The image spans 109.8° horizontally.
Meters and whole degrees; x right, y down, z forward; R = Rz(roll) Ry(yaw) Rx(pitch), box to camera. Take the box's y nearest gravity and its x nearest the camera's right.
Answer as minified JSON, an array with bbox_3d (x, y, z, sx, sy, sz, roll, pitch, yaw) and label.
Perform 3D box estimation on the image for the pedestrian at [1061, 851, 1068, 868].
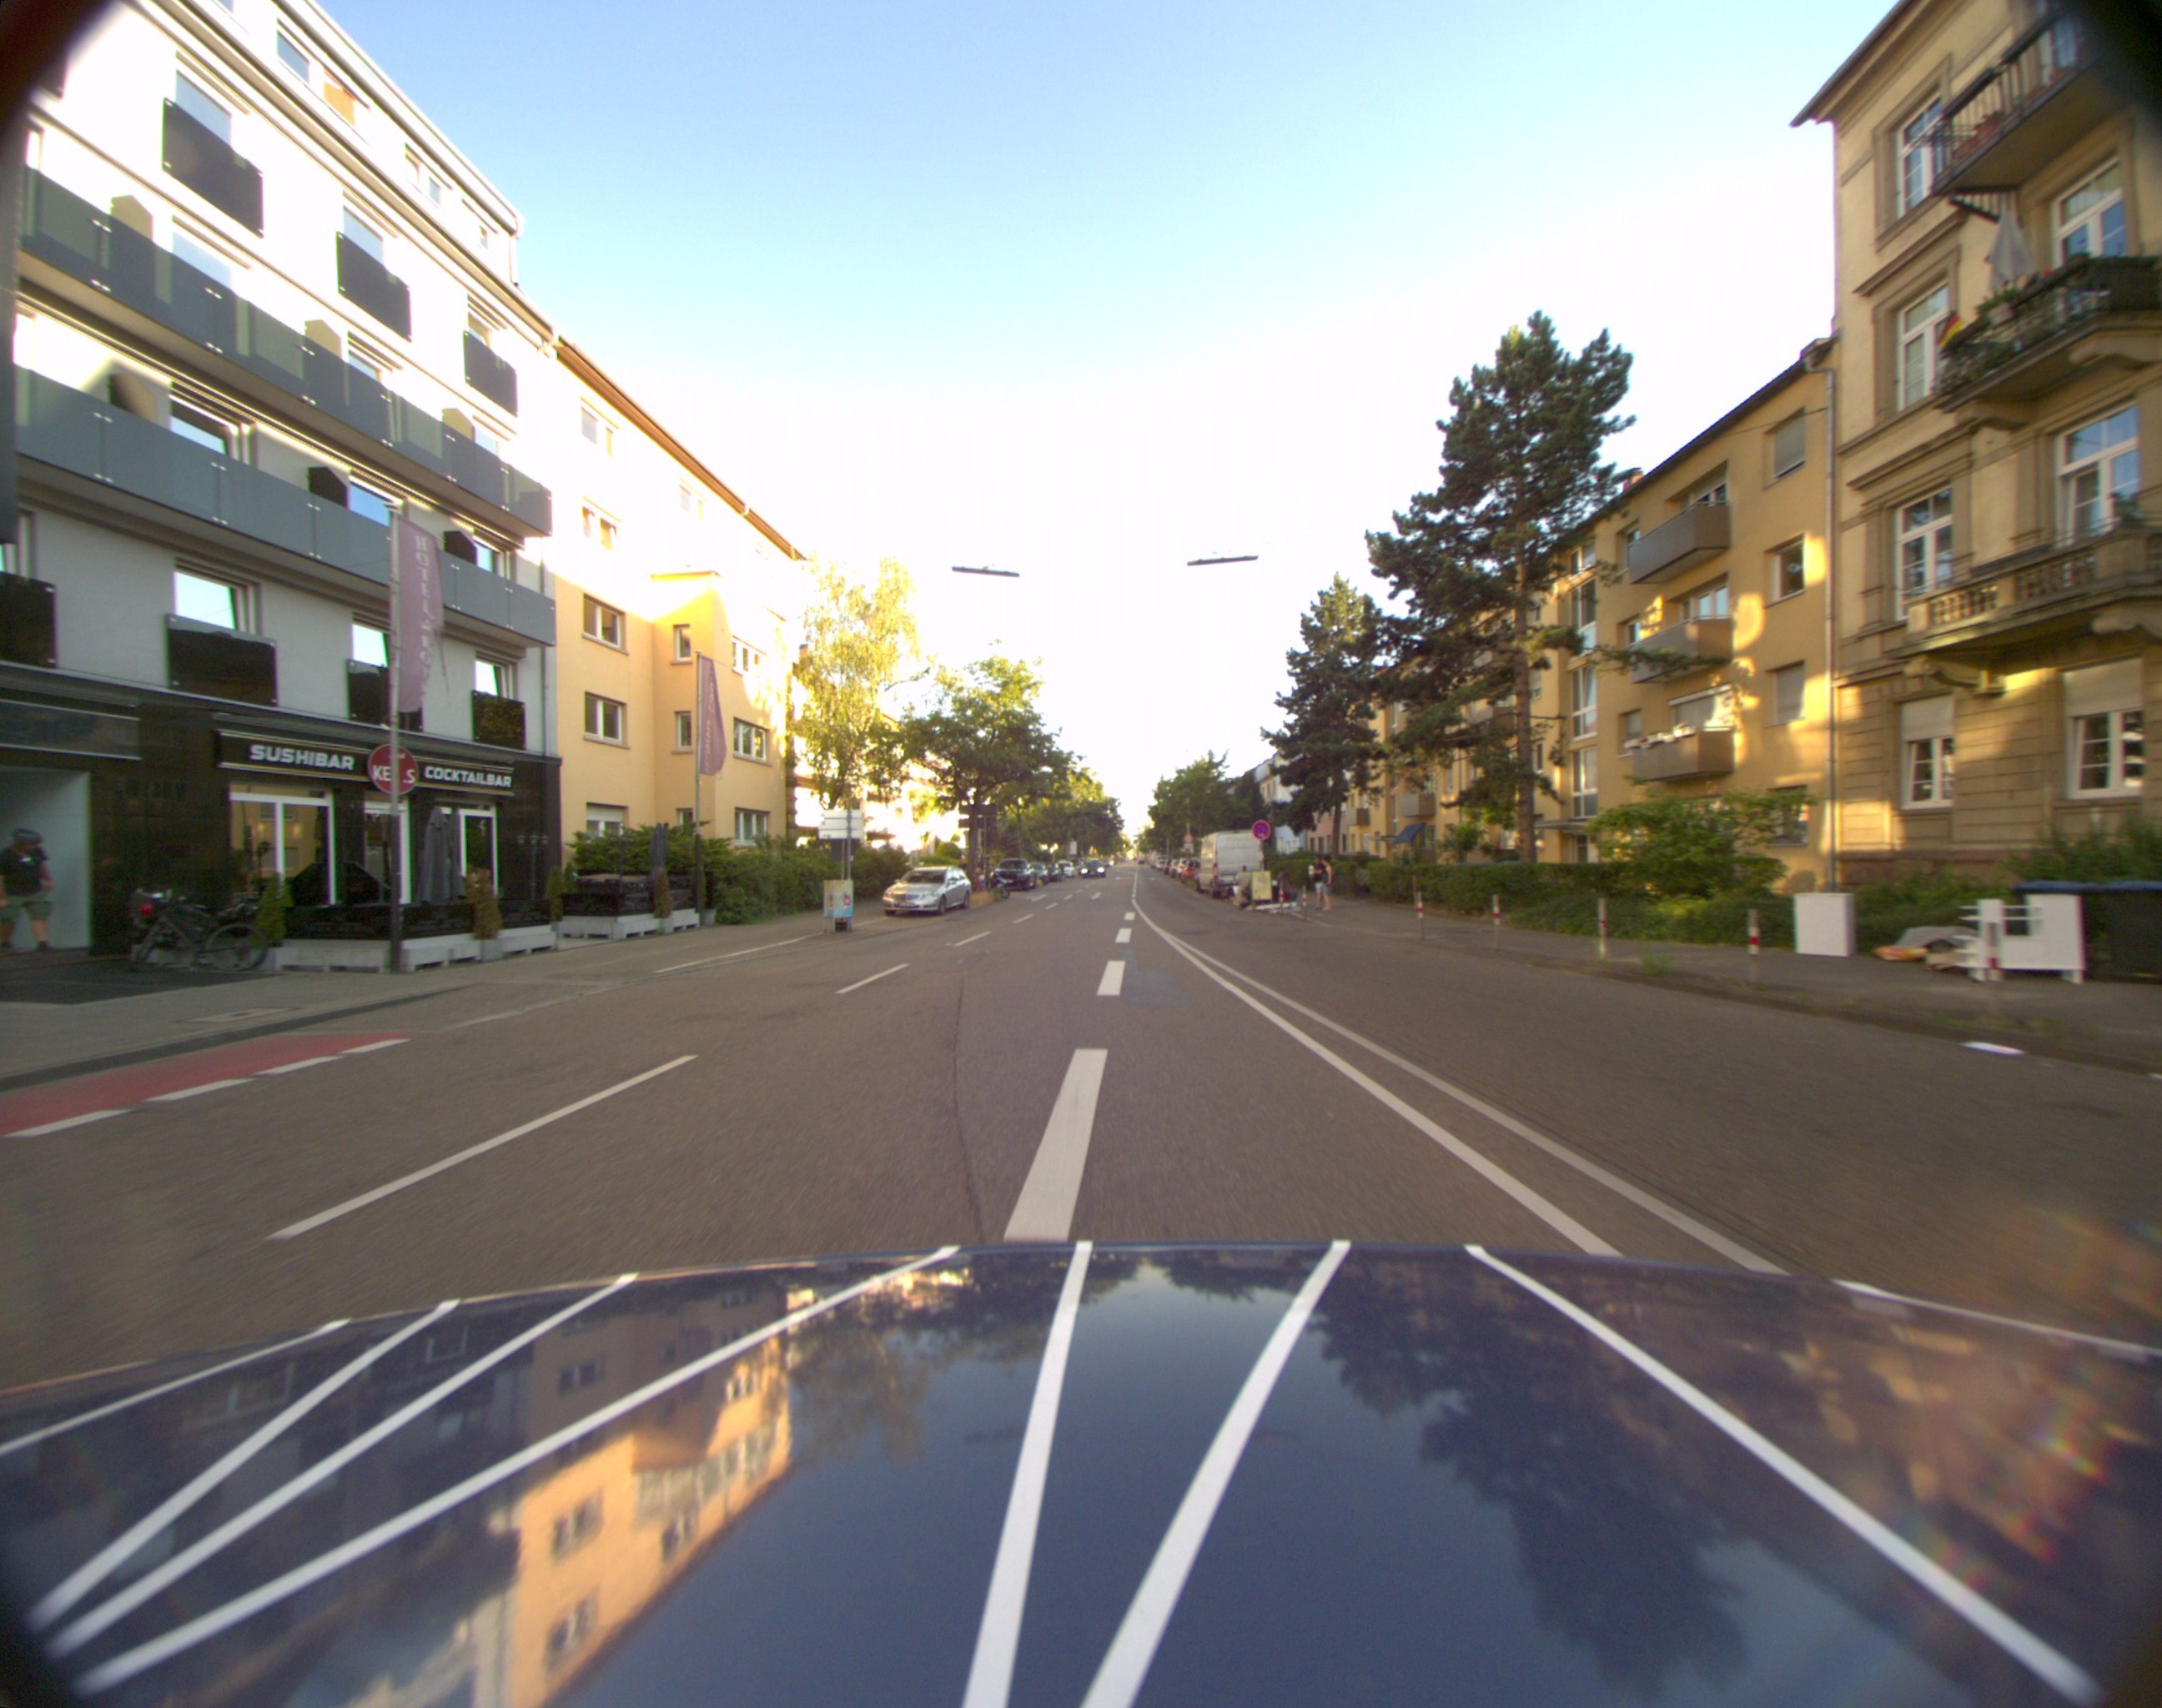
[{"bbox_3d":[-1.832,0.635,85.037,0.669,1.773,0.764,-4,2,4],"label":"pedestrian"}]

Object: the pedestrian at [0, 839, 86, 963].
[{"bbox_3d":[-14.375,0.624,10.349,0.708,1.633,0.693,-1,0,4],"label":"pedestrian"}]

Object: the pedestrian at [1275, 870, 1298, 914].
[{"bbox_3d":[6.517,1.196,24.090,0.560,1.369,0.480,-2,0,-1],"label":"pedestrian"}]

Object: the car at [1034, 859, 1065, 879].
[{"bbox_3d":[-2.331,1.091,56.872,1.774,1.440,4.486,0,0,4],"label":"car"}]

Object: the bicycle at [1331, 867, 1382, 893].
[{"bbox_3d":[11.009,1.049,30.417,1.789,0.976,0.590,-2,0,5],"label":"bicycle"}]

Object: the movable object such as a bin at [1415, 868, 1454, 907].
[{"bbox_3d":[10.093,0.961,21.719,0.813,1.044,0.582,-4,0,3],"label":"movable object such as a bin"}]

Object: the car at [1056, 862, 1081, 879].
[{"bbox_3d":[-1.047,1.469,66.992,1.765,1.394,4.335,0,0,4],"label":"car"}]

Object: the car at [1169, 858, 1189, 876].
[{"bbox_3d":[9.056,1.189,70.405,1.594,1.483,3.642,-2,0,4],"label":"car"}]

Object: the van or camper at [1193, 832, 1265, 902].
[{"bbox_3d":[6.301,0.527,33.081,2.040,2.648,6.016,-3,0,2],"label":"van or camper"}]

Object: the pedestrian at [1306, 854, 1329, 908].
[{"bbox_3d":[7.366,0.826,23.672,0.481,1.642,0.725,-1,0,-2],"label":"pedestrian"}]

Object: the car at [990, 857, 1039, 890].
[{"bbox_3d":[-3.517,1.027,41.132,1.952,1.645,4.797,-1,0,3],"label":"car"}]

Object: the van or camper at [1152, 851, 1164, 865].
[{"bbox_3d":[14.324,0.823,141.658,1.917,2.528,5.336,-1,0,4],"label":"van or camper"}]

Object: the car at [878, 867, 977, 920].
[{"bbox_3d":[-4.972,1.241,25.317,1.859,1.503,4.837,1,0,6],"label":"car"}]

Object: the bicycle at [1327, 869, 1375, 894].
[{"bbox_3d":[11.066,1.122,31.168,1.762,0.976,0.590,-2,0,5],"label":"bicycle"}]

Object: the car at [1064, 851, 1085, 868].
[{"bbox_3d":[-0.621,0.539,77.984,1.921,1.672,4.708,1,0,3],"label":"car"}]

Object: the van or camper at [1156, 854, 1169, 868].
[{"bbox_3d":[12.757,1.069,119.097,1.808,2.002,4.866,-1,0,3],"label":"van or camper"}]

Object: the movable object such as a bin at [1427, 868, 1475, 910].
[{"bbox_3d":[9.922,0.939,20.398,0.869,1.044,0.769,-4,0,3],"label":"movable object such as a bin"}]

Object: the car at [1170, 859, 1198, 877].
[{"bbox_3d":[8.512,1.141,63.155,1.998,1.439,4.459,-1,0,4],"label":"car"}]

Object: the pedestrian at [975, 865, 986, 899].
[{"bbox_3d":[-4.296,1.173,32.517,0.439,1.421,0.704,-1,0,-7],"label":"pedestrian"}]

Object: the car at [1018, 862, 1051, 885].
[{"bbox_3d":[-3.003,1.251,50.097,1.720,1.463,4.432,0,0,2],"label":"car"}]

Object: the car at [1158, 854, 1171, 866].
[{"bbox_3d":[11.380,0.822,103.841,1.683,1.434,3.883,-2,-1,6],"label":"car"}]

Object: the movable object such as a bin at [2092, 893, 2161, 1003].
[{"bbox_3d":[11.231,0.971,7.973,0.642,1.062,0.626,-3,1,-26],"label":"movable object such as a bin"}]

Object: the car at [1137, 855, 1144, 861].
[{"bbox_3d":[15.637,0.999,201.172,1.698,1.570,3.832,-2,0,3],"label":"car"}]

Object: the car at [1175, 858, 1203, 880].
[{"bbox_3d":[8.219,1.105,58.166,1.780,1.579,4.187,-2,0,4],"label":"car"}]

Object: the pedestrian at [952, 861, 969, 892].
[{"bbox_3d":[-6.481,1.207,40.869,0.748,1.606,0.580,-1,0,2],"label":"pedestrian"}]

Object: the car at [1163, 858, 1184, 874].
[{"bbox_3d":[9.168,1.191,75.548,1.841,1.508,4.317,-2,0,5],"label":"car"}]

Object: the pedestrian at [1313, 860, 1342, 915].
[{"bbox_3d":[7.434,1.002,22.934,0.606,1.642,0.697,-1,0,-2],"label":"pedestrian"}]

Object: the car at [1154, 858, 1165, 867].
[{"bbox_3d":[13.138,1.390,127.804,1.808,1.489,3.958,-1,0,6],"label":"car"}]

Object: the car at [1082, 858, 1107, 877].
[{"bbox_3d":[1.203,1.092,64.735,1.998,1.525,4.001,-1,0,3],"label":"car"}]

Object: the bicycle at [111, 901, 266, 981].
[{"bbox_3d":[-12.914,1.255,11.029,1.426,1.104,0.488,2,0,-13],"label":"bicycle"}]

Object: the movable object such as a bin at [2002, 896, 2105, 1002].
[{"bbox_3d":[10.994,1.044,8.597,0.642,1.077,0.582,-3,1,-26],"label":"movable object such as a bin"}]

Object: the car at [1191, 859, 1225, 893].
[{"bbox_3d":[6.305,1.060,37.870,1.406,1.539,2.763,-3,0,6],"label":"car"}]

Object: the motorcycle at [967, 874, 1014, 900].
[{"bbox_3d":[-3.896,1.411,32.741,1.931,1.064,0.820,-1,0,-7],"label":"motorcycle"}]

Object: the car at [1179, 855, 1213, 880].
[{"bbox_3d":[7.059,0.837,47.026,1.721,1.443,3.924,-2,-1,4],"label":"car"}]

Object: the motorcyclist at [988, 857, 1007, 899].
[{"bbox_3d":[-3.613,1.017,32.766,0.738,1.767,1.087,-1,0,-7],"label":"motorcyclist"}]
